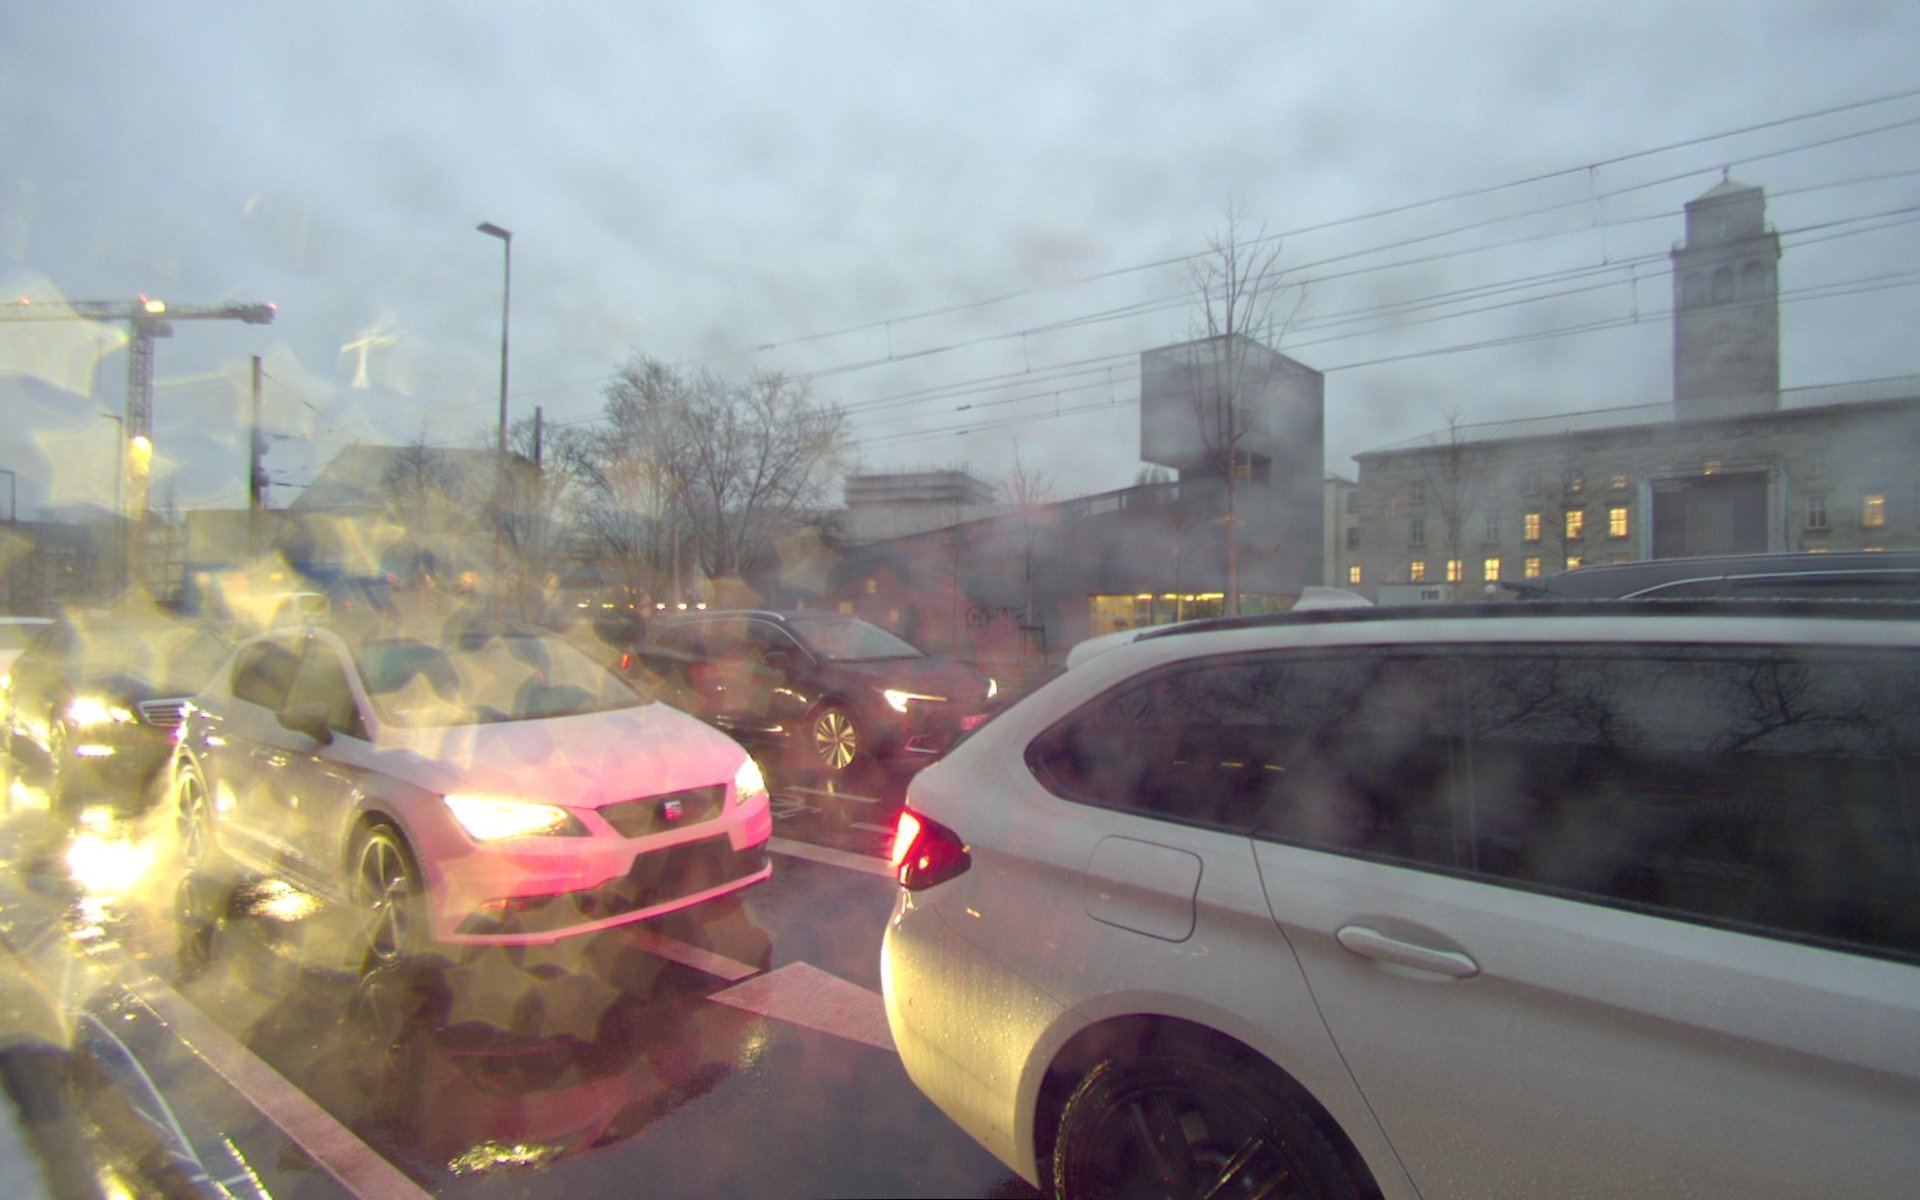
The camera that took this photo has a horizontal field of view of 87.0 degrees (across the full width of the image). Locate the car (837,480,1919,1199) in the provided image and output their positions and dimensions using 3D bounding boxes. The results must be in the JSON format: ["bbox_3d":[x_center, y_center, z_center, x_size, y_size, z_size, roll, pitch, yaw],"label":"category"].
[{"bbox_3d":[2.082,0.623,1.651,4.557,1.498,1.996,-1,-2,41],"label":"car"}]

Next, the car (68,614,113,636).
[{"bbox_3d":[-79.365,2.294,92.349,3.989,1.910,2.072,-1,-2,34],"label":"car"}]

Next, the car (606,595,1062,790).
[{"bbox_3d":[-1.427,0.748,10.094,4.659,1.519,1.830,0,-1,39],"label":"car"}]

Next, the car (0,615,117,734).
[{"bbox_3d":[-14.258,1.035,15.180,3.998,1.586,1.882,-1,0,41],"label":"car"}]

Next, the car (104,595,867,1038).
[{"bbox_3d":[-2.834,0.768,5.585,4.497,1.498,1.926,-1,0,37],"label":"car"}]

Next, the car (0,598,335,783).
[{"bbox_3d":[-8.396,0.785,10.429,4.501,1.498,1.974,-1,-2,39],"label":"car"}]

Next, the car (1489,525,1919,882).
[{"bbox_3d":[5.226,0.471,5.003,4.289,1.596,1.946,-1,-1,42],"label":"car"}]
